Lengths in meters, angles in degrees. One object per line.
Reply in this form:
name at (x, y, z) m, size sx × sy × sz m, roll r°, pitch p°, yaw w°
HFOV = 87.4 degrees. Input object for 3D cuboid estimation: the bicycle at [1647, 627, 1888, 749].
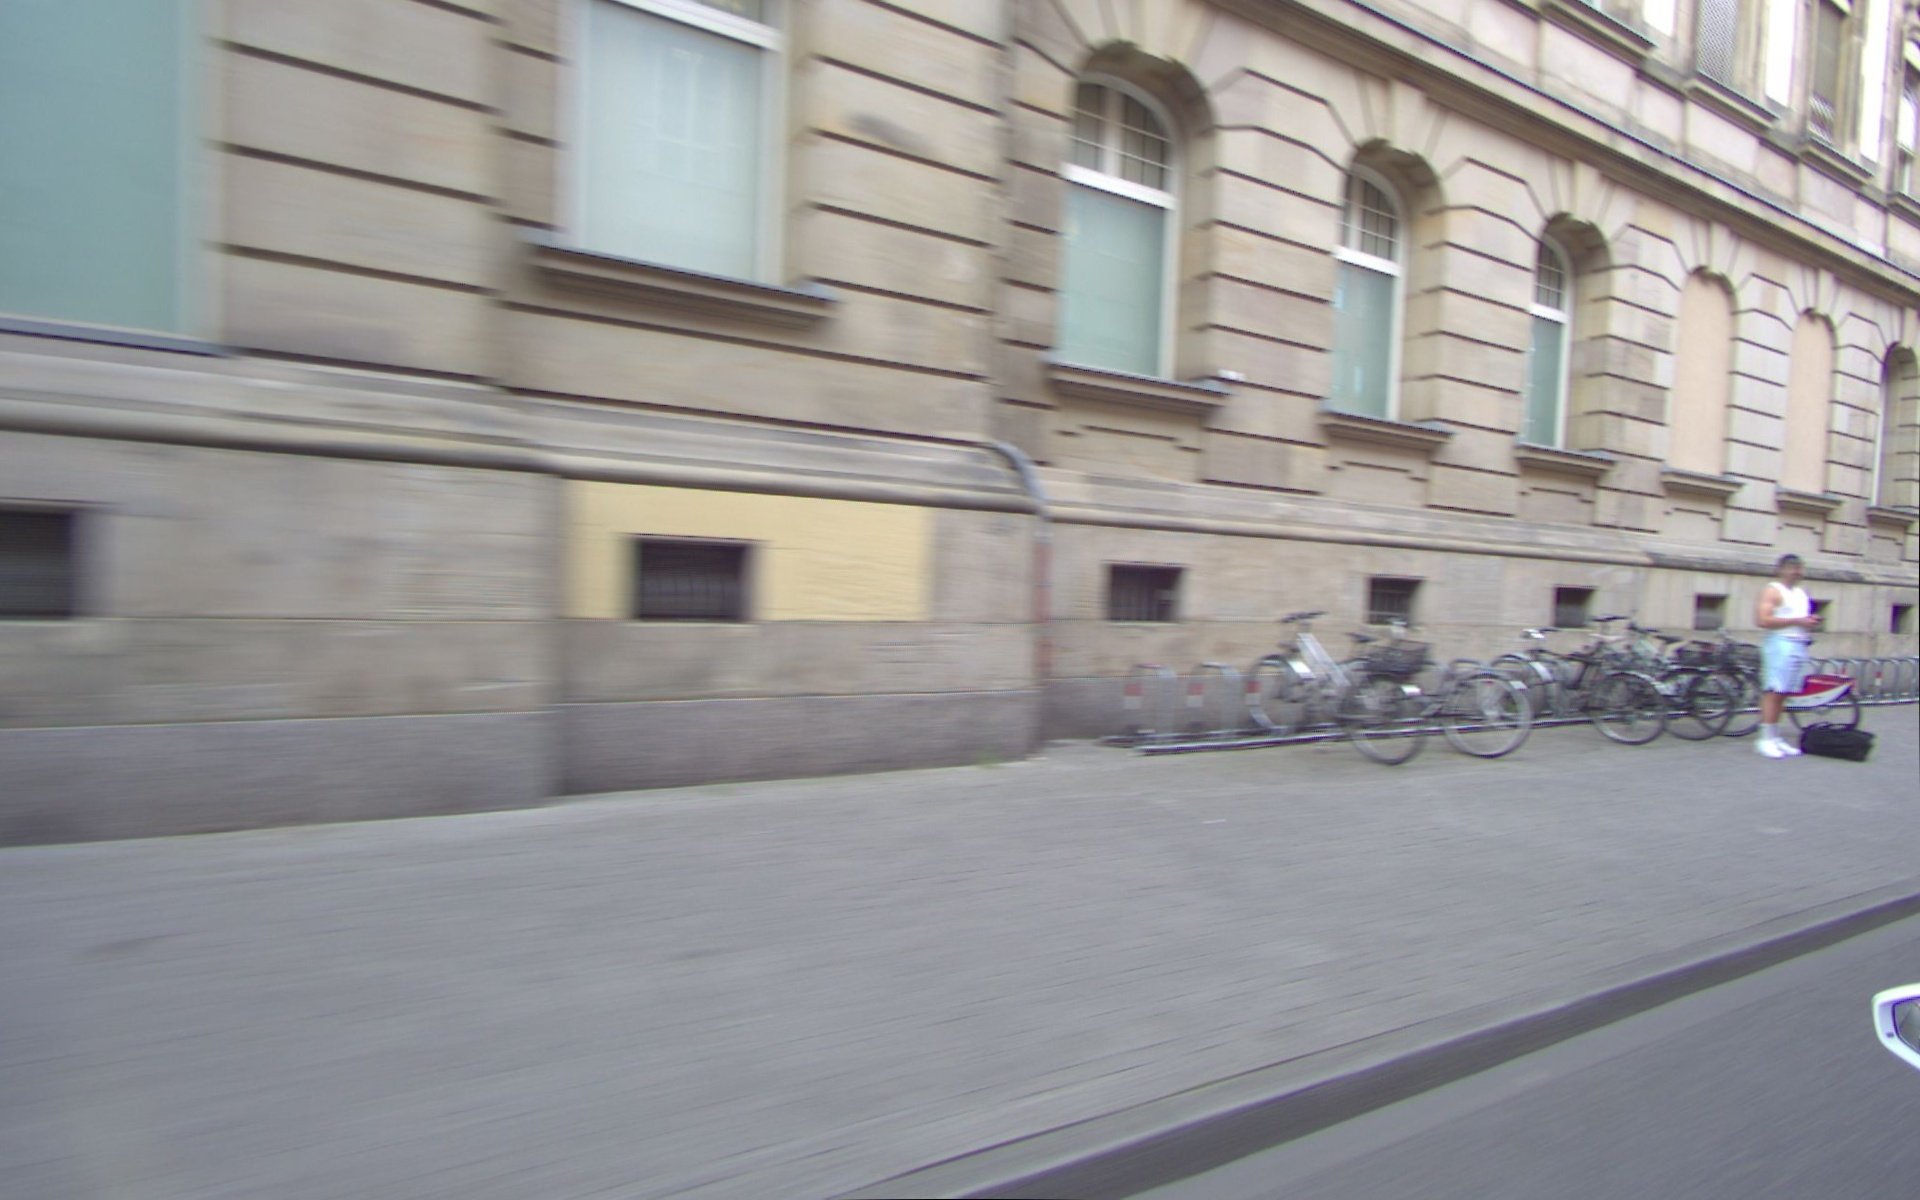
bicycle at (8.863, 0.924, 11.121) m, size 0.613 × 1.076 × 1.927 m, roll 2°, pitch 2°, yaw -31°

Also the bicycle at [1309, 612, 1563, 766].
bicycle at (4.139, 0.723, 8.902) m, size 0.613 × 1.076 × 1.924 m, roll 2°, pitch 3°, yaw -35°

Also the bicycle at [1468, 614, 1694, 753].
bicycle at (6.074, 0.776, 9.931) m, size 0.495 × 1.122 × 1.782 m, roll 2°, pitch 3°, yaw -35°

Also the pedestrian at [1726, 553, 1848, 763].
pedestrian at (7.803, 0.521, 9.485) m, size 0.747 × 1.876 × 0.584 m, roll 1°, pitch 4°, yaw -35°

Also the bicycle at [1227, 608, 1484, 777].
bicycle at (3.133, 0.681, 8.174) m, size 0.612 × 1.076 × 1.927 m, roll 2°, pitch 3°, yaw -30°

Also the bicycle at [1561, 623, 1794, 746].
bicycle at (7.767, 0.872, 10.979) m, size 0.613 × 1.076 × 1.924 m, roll 2°, pitch 3°, yaw -35°

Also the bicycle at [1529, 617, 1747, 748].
bicycle at (7.071, 0.819, 10.577) m, size 0.495 × 1.122 × 1.782 m, roll 2°, pitch 3°, yaw -35°
